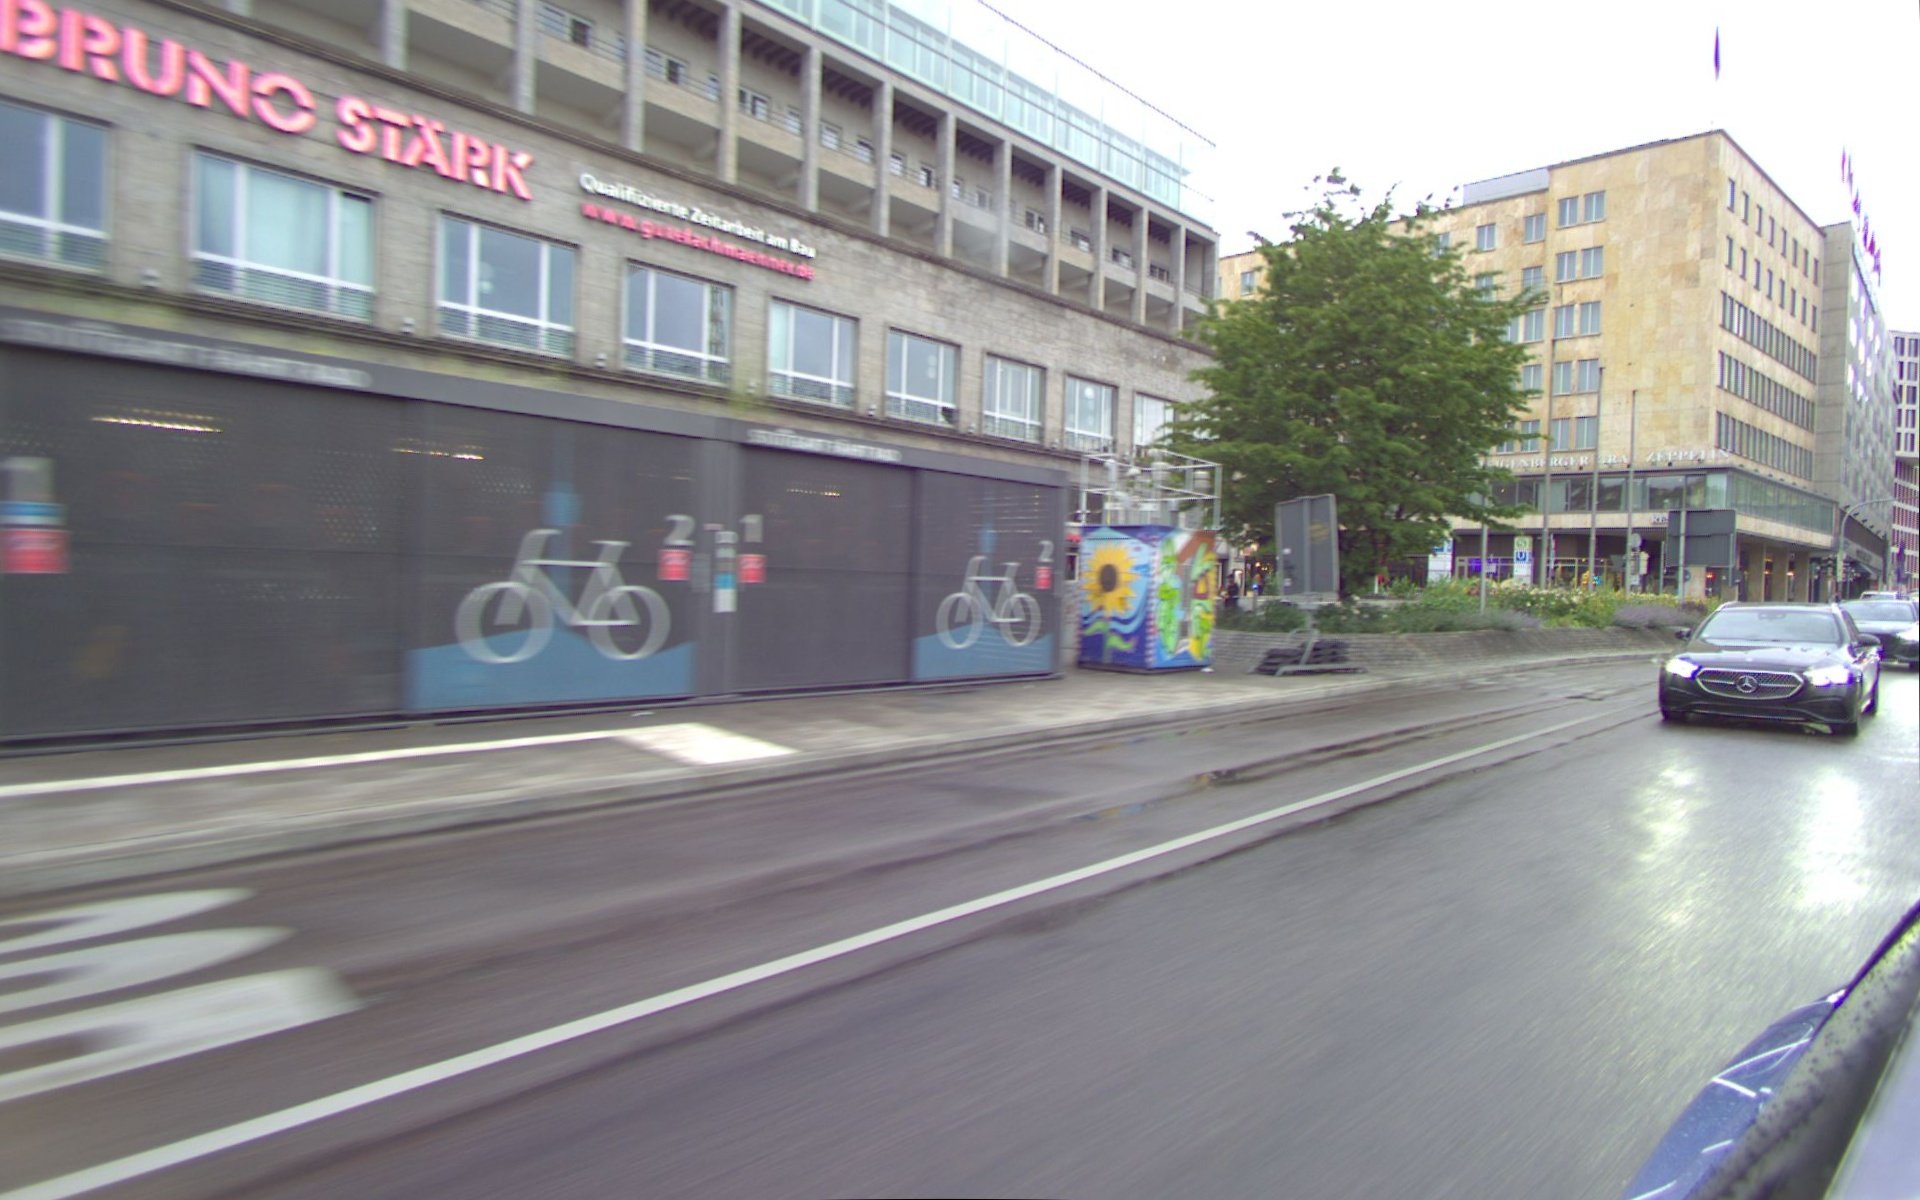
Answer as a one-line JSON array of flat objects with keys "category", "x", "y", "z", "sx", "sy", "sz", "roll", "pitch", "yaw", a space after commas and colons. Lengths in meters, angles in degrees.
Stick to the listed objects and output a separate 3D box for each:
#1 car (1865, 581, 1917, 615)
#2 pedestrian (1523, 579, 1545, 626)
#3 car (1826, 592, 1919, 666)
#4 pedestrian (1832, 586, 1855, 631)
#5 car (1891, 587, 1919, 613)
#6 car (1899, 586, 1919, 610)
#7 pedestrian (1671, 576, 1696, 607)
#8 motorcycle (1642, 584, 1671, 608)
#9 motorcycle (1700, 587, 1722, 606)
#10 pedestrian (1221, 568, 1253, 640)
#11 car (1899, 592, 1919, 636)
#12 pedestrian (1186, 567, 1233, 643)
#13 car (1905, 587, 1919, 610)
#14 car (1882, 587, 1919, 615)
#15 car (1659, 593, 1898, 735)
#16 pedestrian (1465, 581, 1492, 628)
[{"category": "car", "x": 55.664, "y": -0.161, "z": 60.476, "sx": 4.914, "sy": 1.908, "sz": 1.996, "roll": 0, "pitch": 2, "yaw": -44}, {"category": "pedestrian", "x": 22.397, "y": 0.086, "z": 39.490, "sx": 0.669, "sy": 1.812, "sz": 0.536, "roll": 0, "pitch": 1, "yaw": -41}, {"category": "car", "x": 21.256, "y": 0.590, "z": 23.082, "sx": 4.095, "sy": 1.527, "sz": 1.874, "roll": 0, "pitch": 2, "yaw": -44}, {"category": "pedestrian", "x": 38.818, "y": 0.376, "z": 44.481, "sx": 0.779, "sy": 1.943, "sz": 0.673, "roll": 0, "pitch": 1, "yaw": -43}, {"category": "car", "x": 64.522, "y": -0.016, "z": 68.463, "sx": 4.484, "sy": 1.656, "sz": 1.996, "roll": 0, "pitch": 2, "yaw": -44}, {"category": "car", "x": 68.842, "y": -0.155, "z": 72.530, "sx": 4.795, "sy": 1.629, "sz": 1.996, "roll": 0, "pitch": 2, "yaw": -44}, {"category": "pedestrian", "x": 45.546, "y": -0.533, "z": 63.714, "sx": 1.090, "sy": 1.870, "sz": 1.000, "roll": 0, "pitch": 2, "yaw": -41}, {"category": "motorcycle", "x": 44.259, "y": -0.249, "z": 64.318, "sx": 2.803, "sy": 1.471, "sz": 0.963, "roll": 0, "pitch": 1, "yaw": -44}, {"category": "motorcycle", "x": 50.284, "y": -0.259, "z": 67.743, "sx": 2.494, "sy": 1.246, "sz": 0.729, "roll": 0, "pitch": 1, "yaw": -44}, {"category": "pedestrian", "x": 6.980, "y": 0.096, "z": 25.516, "sx": 0.566, "sy": 1.773, "sz": 0.559, "roll": 1, "pitch": 1, "yaw": 44}, {"category": "car", "x": 36.602, "y": 0.524, "z": 37.795, "sx": 3.843, "sy": 1.577, "sz": 1.996, "roll": 0, "pitch": 2, "yaw": -44}, {"category": "pedestrian", "x": 5.967, "y": 0.109, "z": 24.170, "sx": 0.640, "sy": 1.773, "sz": 1.059, "roll": 1, "pitch": 1, "yaw": 44}, {"category": "car", "x": 72.839, "y": -0.109, "z": 76.312, "sx": 4.836, "sy": 1.635, "sz": 1.996, "roll": 0, "pitch": 2, "yaw": -44}, {"category": "car", "x": 60.272, "y": 0.029, "z": 64.402, "sx": 5.049, "sy": 1.674, "sz": 1.996, "roll": 0, "pitch": 2, "yaw": -44}, {"category": "car", "x": 10.605, "y": 0.666, "z": 12.977, "sx": 4.622, "sy": 1.482, "sz": 1.820, "roll": 0, "pitch": 1, "yaw": -44}, {"category": "pedestrian", "x": 19.525, "y": 0.161, "z": 38.102, "sx": 0.697, "sy": 1.773, "sz": 0.824, "roll": 1, "pitch": 1, "yaw": 44}]
